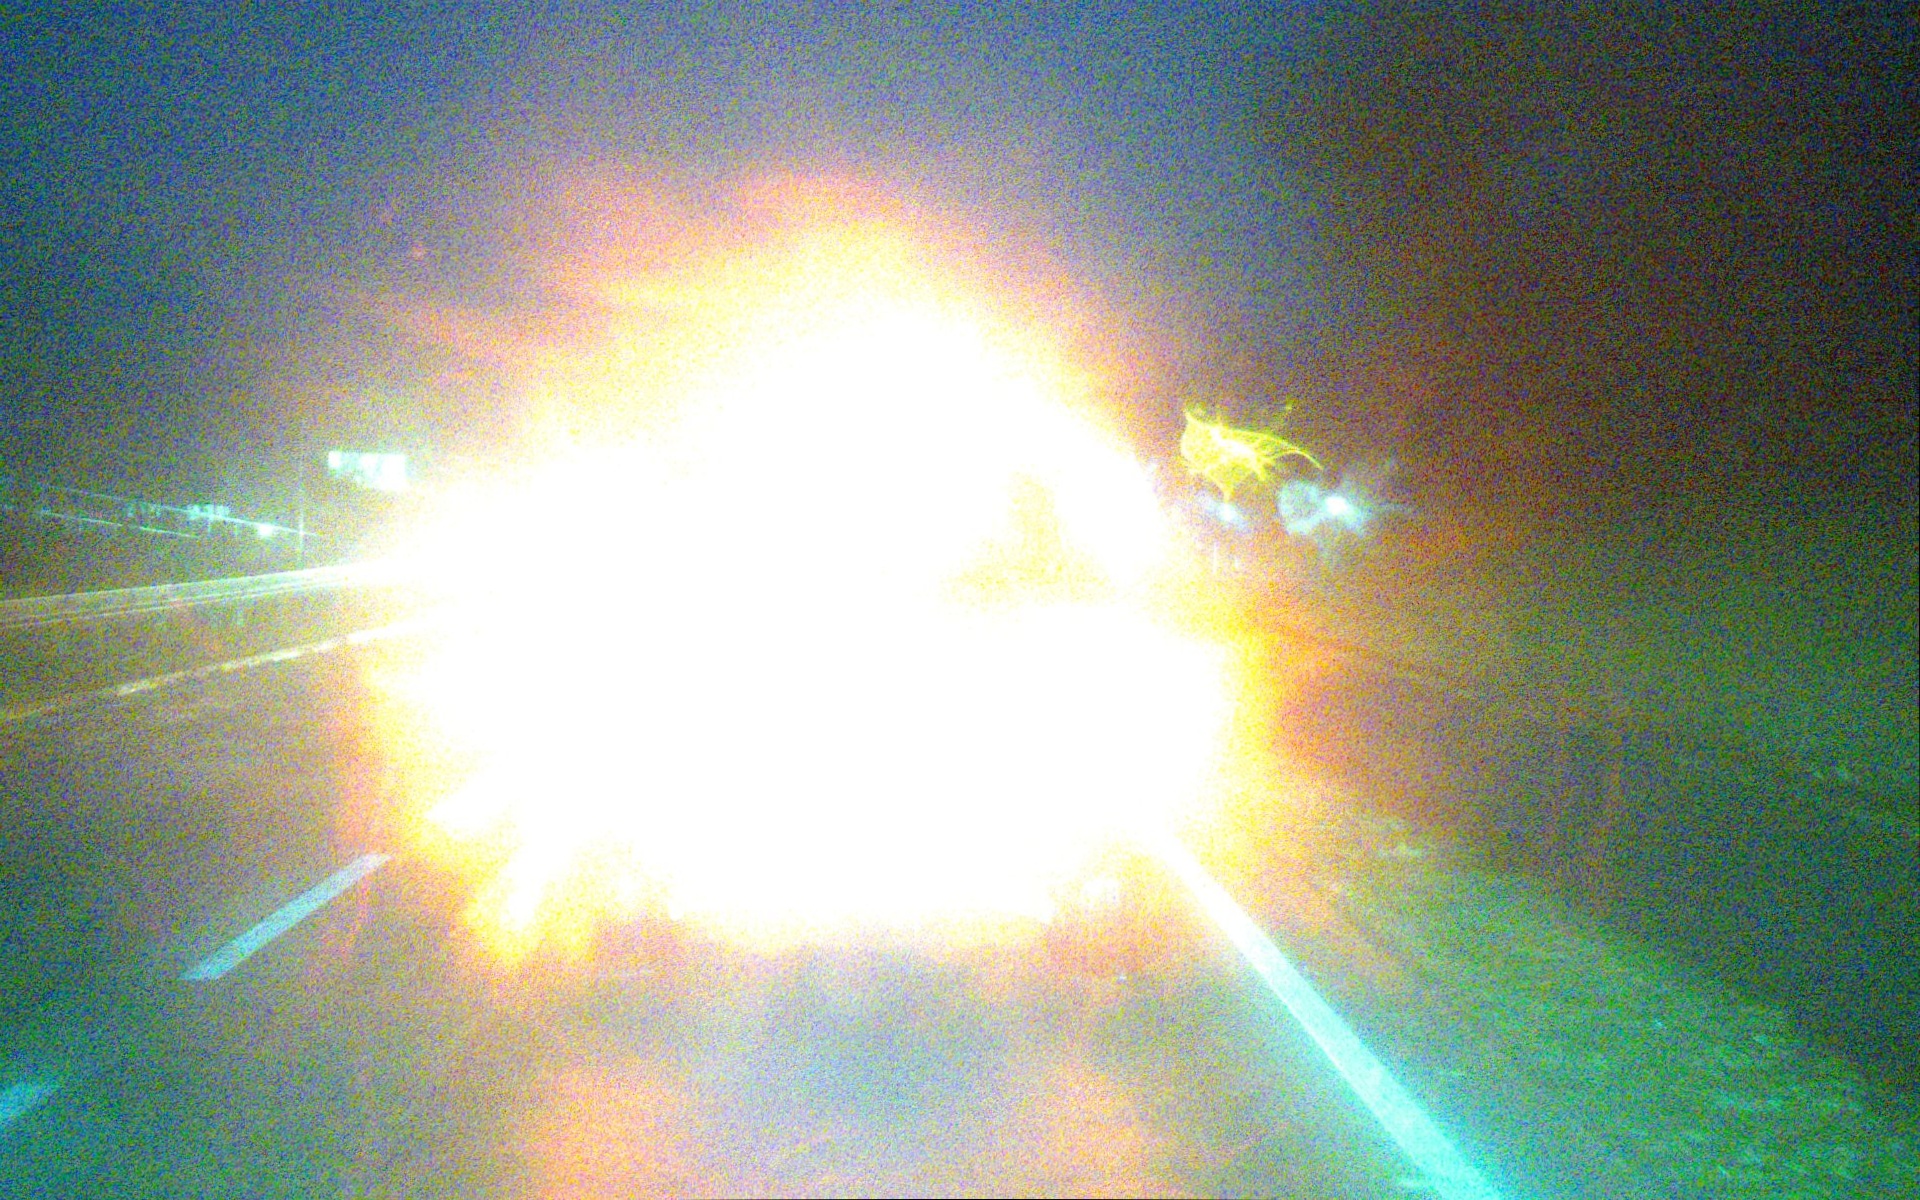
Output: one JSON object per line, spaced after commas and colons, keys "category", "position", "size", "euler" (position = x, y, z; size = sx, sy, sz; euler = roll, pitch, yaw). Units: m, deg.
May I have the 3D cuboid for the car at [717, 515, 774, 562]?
{"category": "car", "position": [-6.957, -2.008, 111.824], "size": [1.543, 1.505, 3.880], "euler": [0, 1, 1]}

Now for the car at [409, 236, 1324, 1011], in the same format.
{"category": "car", "position": [-0.342, -0.009, 13.280], "size": [2.715, 2.299, 6.101], "euler": [0, 2, -1]}
